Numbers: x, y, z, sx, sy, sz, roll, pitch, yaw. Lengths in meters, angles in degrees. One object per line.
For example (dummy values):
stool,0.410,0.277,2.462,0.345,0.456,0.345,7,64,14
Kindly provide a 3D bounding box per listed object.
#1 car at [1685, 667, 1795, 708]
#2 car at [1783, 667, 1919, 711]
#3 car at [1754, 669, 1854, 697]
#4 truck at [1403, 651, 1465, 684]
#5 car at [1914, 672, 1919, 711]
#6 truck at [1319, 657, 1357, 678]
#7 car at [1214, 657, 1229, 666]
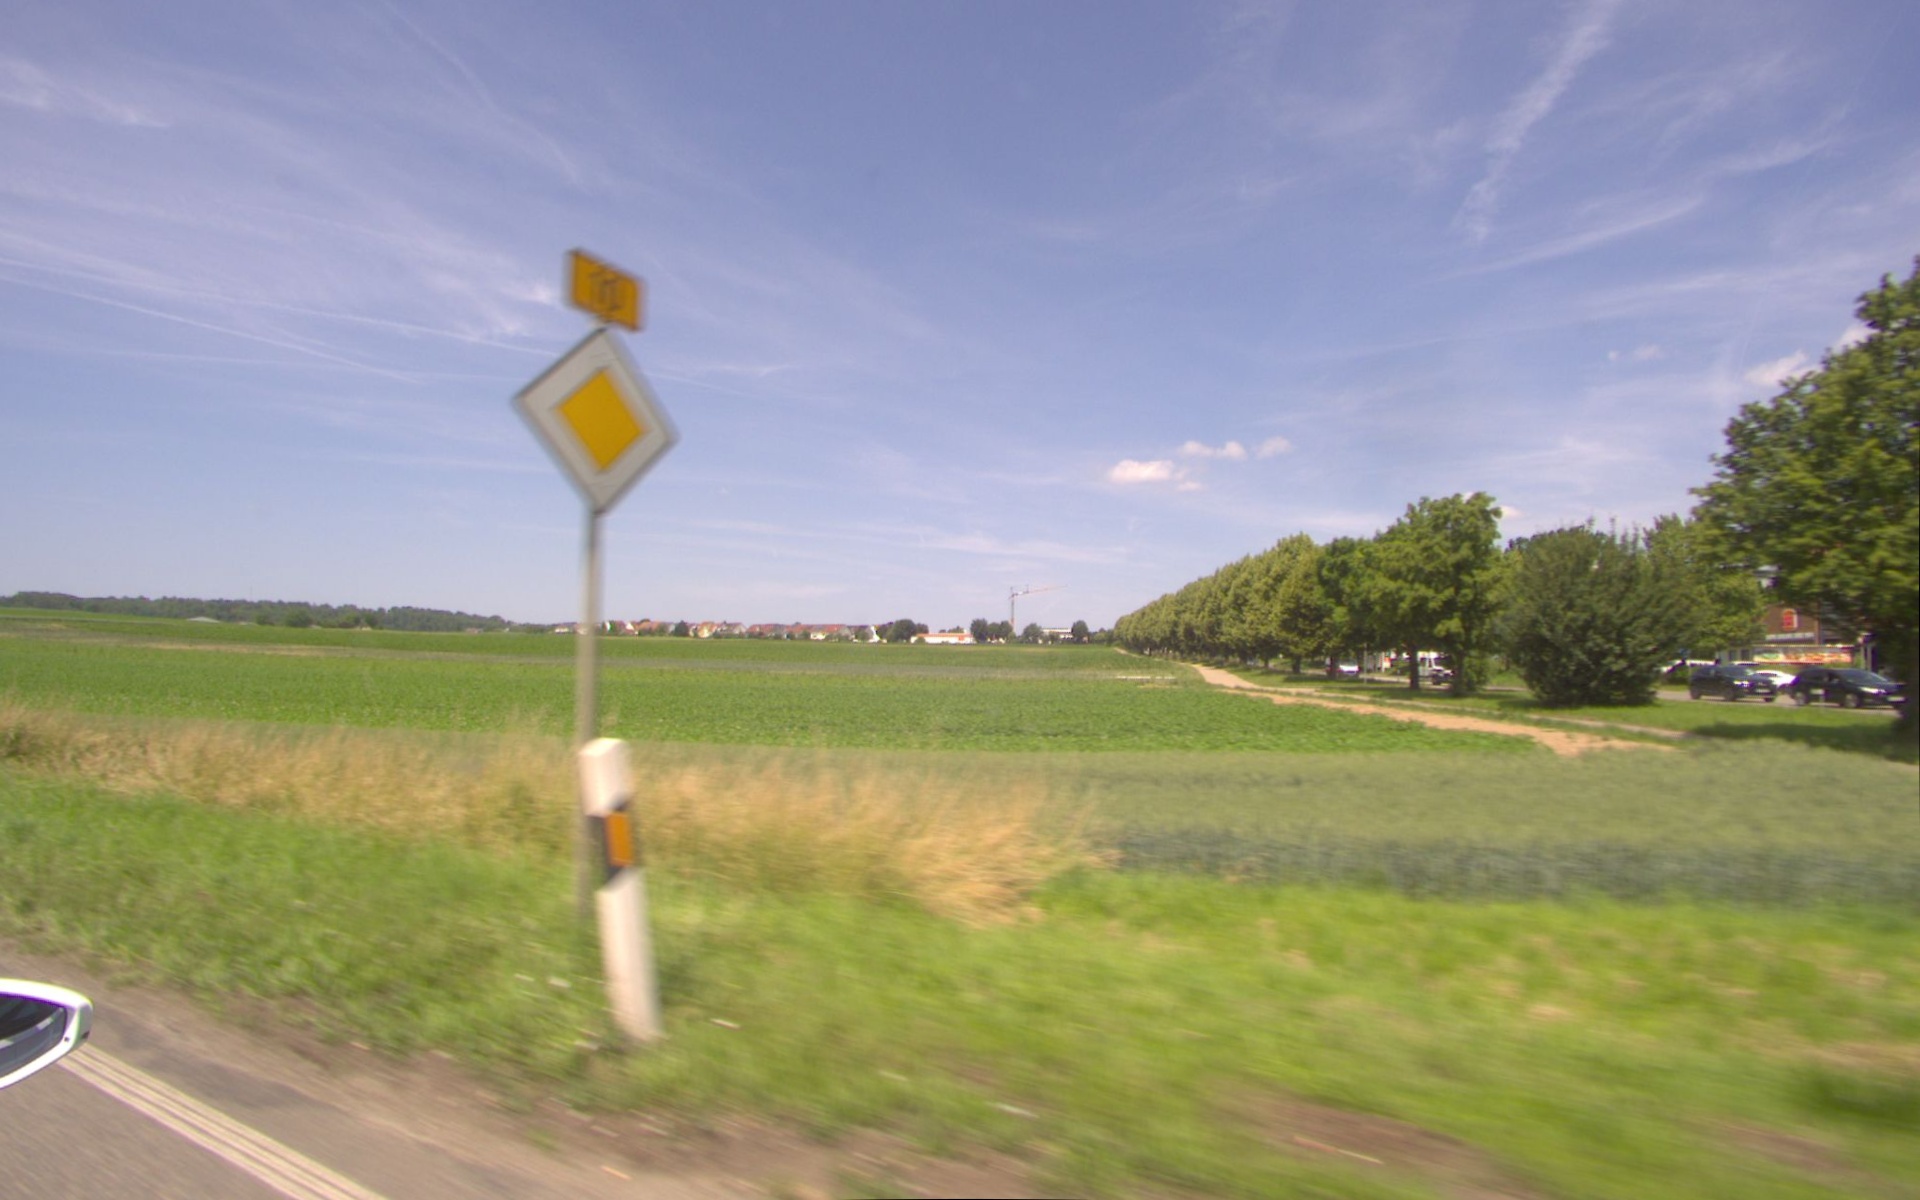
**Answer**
car,35.072,3.895,45.199,1.961,1.718,4.295,-1,-4,7
car,33.398,3.292,37.545,1.766,1.528,4.237,-1,-4,5
car,50.677,4.962,60.213,4.451,1.578,1.863,-4,-4,41
truck,35.723,5.084,75.618,2.013,2.394,5.644,-1,-4,1
car,32.543,2.889,31.108,1.766,1.288,4.566,-1,-4,7
truck,37.573,6.709,99.685,1.766,1.999,5.481,-1,-4,2
car,47.578,11.187,182.291,1.961,1.669,4.004,-1,-4,5
